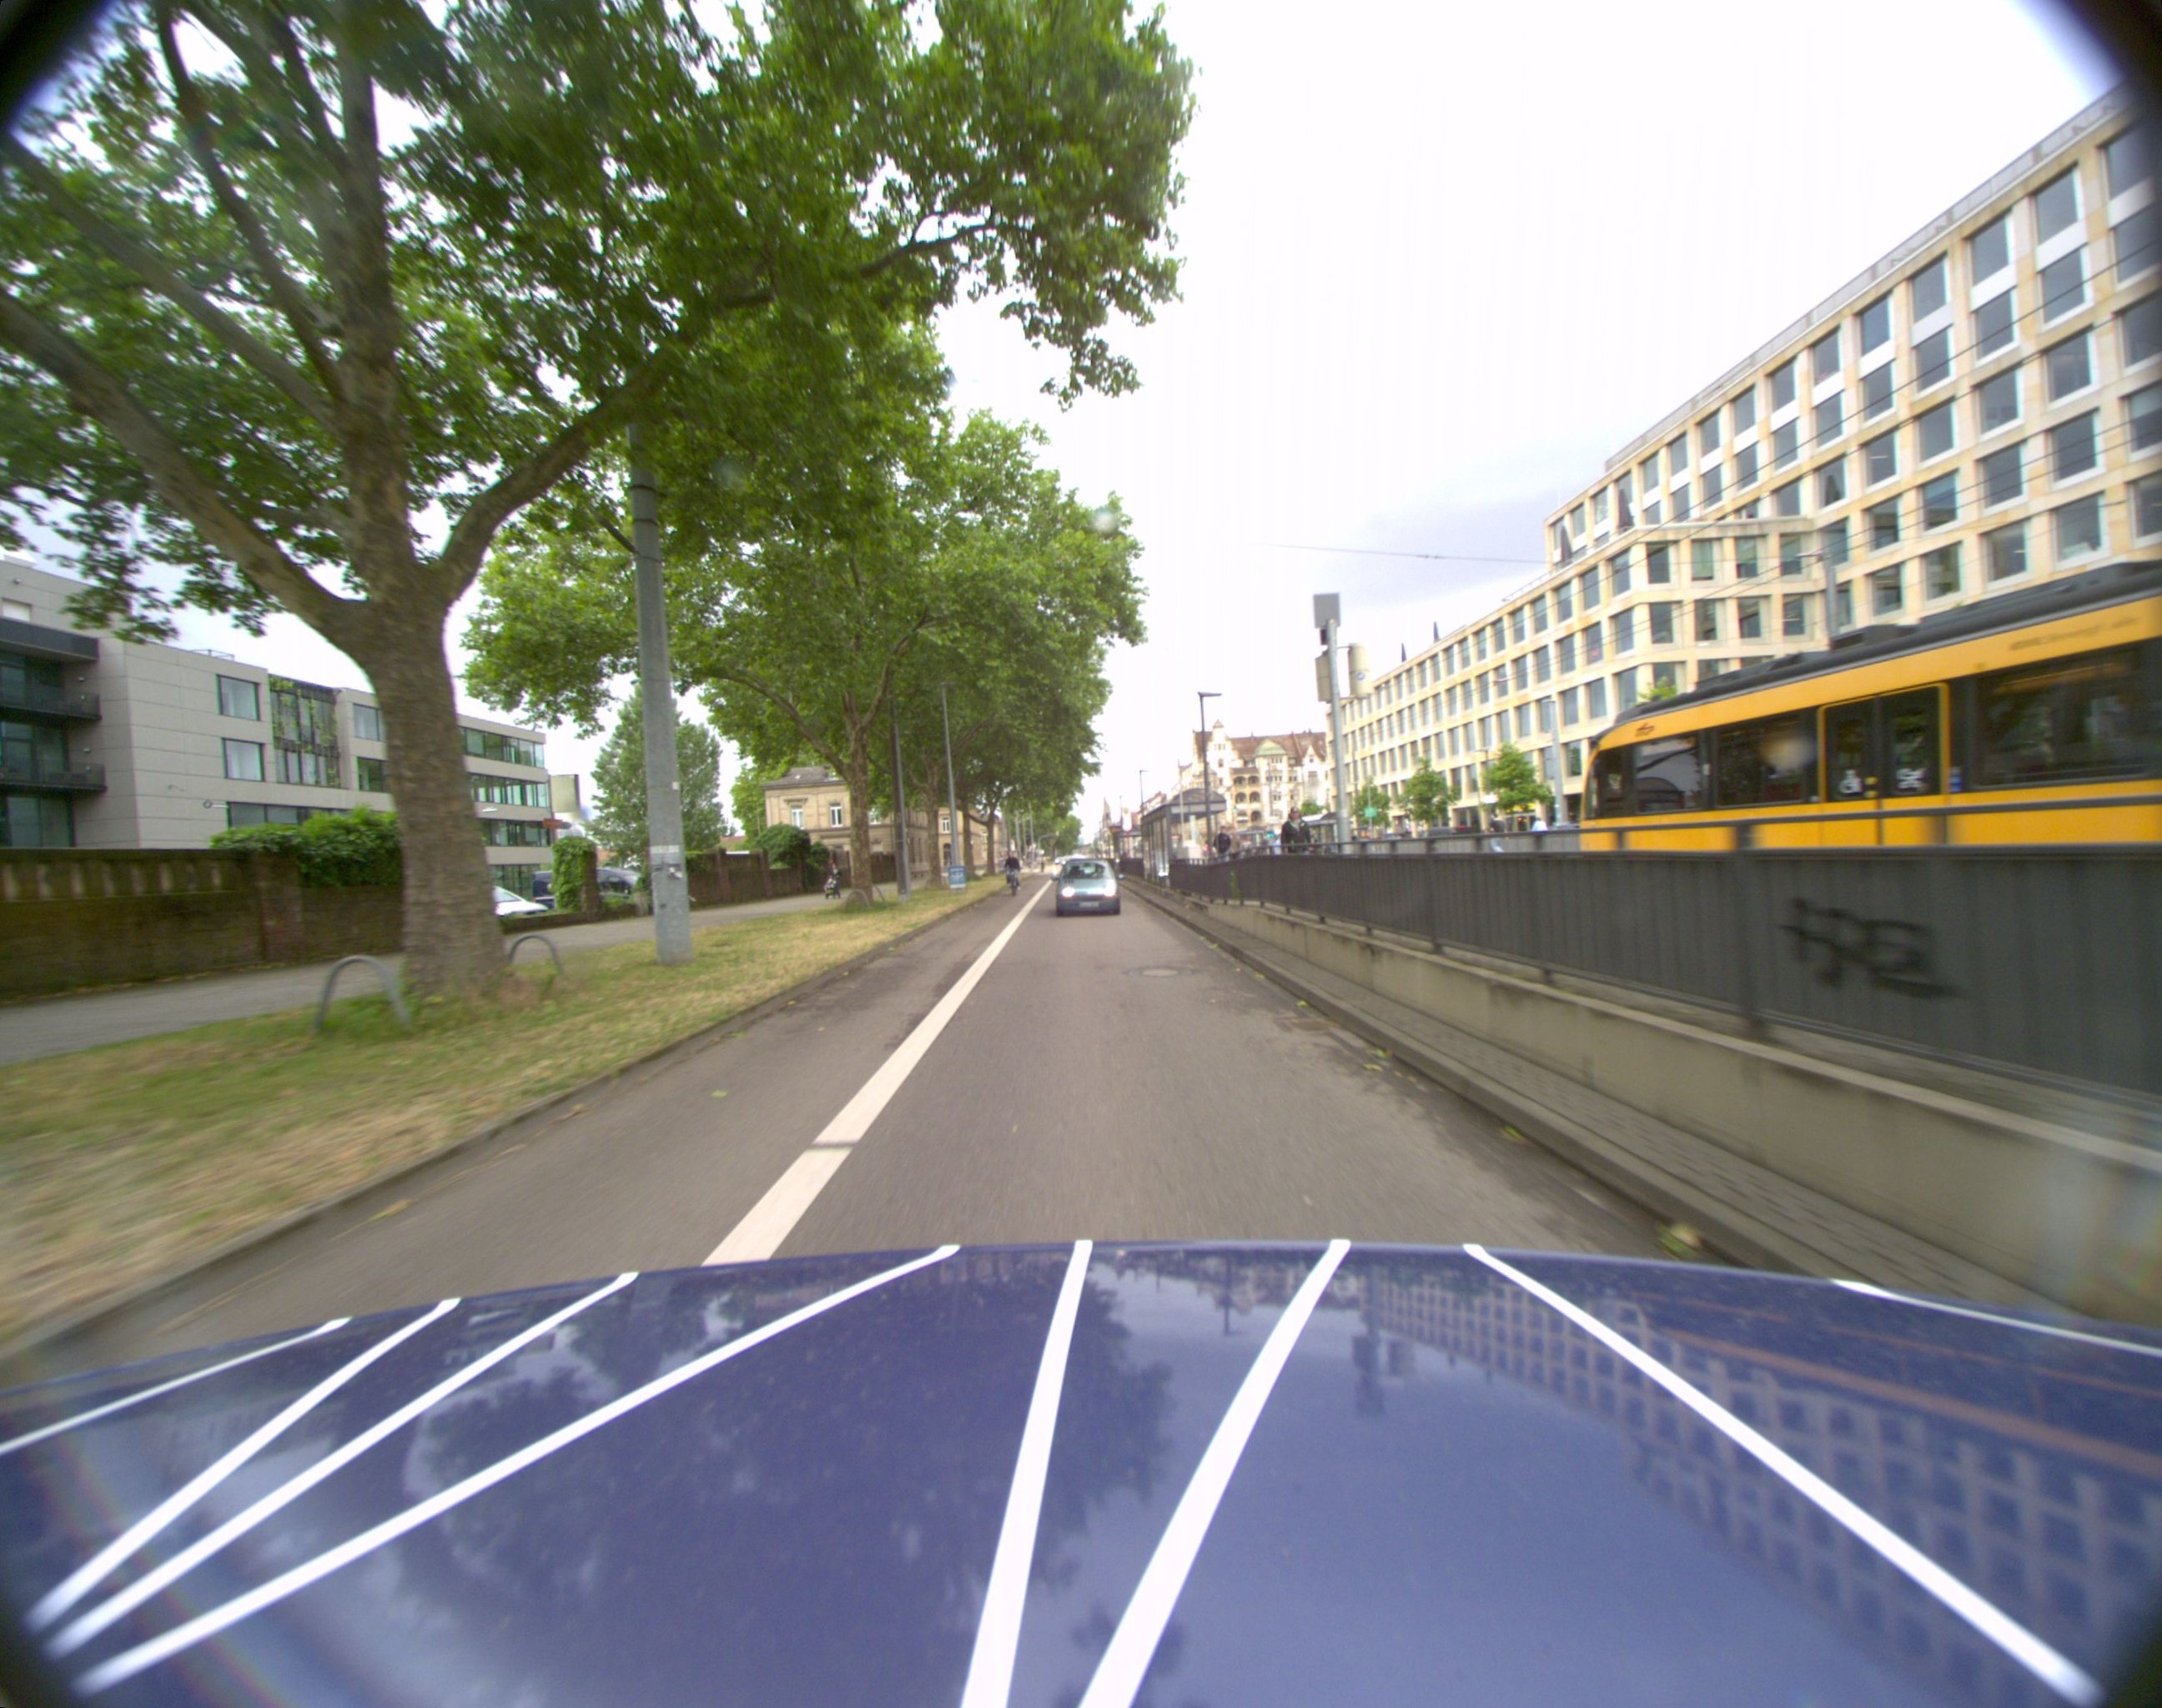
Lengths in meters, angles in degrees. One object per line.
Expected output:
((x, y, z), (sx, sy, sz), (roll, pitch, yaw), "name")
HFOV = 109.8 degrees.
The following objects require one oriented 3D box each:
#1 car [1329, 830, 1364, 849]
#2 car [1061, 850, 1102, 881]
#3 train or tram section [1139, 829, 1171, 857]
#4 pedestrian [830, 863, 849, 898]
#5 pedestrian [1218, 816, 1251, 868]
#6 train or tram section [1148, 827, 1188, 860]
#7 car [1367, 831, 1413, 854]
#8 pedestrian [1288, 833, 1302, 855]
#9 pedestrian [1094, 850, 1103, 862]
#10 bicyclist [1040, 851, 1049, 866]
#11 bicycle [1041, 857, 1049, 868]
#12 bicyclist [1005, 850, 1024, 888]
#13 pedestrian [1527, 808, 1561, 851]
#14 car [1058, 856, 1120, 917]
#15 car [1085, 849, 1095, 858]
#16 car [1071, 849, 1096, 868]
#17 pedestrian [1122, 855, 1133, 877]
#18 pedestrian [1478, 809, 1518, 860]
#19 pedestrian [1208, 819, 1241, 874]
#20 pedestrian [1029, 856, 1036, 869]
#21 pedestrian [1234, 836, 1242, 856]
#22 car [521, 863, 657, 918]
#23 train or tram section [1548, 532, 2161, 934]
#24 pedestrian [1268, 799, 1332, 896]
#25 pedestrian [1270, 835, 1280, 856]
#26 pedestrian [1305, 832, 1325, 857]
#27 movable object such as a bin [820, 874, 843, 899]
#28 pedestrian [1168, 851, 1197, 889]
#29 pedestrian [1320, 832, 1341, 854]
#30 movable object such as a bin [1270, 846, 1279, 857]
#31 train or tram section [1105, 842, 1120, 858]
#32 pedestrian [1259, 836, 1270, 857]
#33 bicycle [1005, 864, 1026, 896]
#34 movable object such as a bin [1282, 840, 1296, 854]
((25.335, -1.398, 72.620), (1.998, 1.652, 4.000), (-3, 1, 2), "car")
((0.014, 0.588, 41.274), (1.999, 1.443, 4.099), (-3, 1, 0), "car")
((10.362, -1.500, 107.539), (2.862, 3.619, 11.696), (-3, 1, -1), "train or tram section")
((-11.526, 1.243, 36.300), (0.559, 1.623, 0.670), (-3, 1, 6), "pedestrian")
((5.463, -0.427, 27.107), (0.672, 1.783, 1.112), (-4, 1, -13), "pedestrian")
((10.712, -1.352, 94.952), (2.862, 3.671, 13.516), (-3, 1, -1), "train or tram section")
((24.406, -0.941, 60.117), (1.998, 1.652, 4.000), (-3, 1, 2), "car")
((15.773, -0.713, 56.023), (0.580, 1.598, 0.655), (-4, 2, -33), "pedestrian")
((2.343, 0.268, 100.915), (0.862, 1.633, 0.651), (-5, 2, -42), "pedestrian")
((-3.972, 0.514, 82.888), (0.812, 1.591, 1.189), (-4, 1, -2), "bicyclist")
((-3.938, 0.905, 82.944), (0.815, 1.163, 2.276), (-4, 1, -2), "bicycle")
((-2.706, 0.598, 30.967), (0.642, 1.522, 0.664), (-4, 1, -2), "bicyclist")
((22.377, -1.156, 36.737), (0.935, 2.002, 1.032), (-3, 1, -2), "pedestrian")
((0.230, 0.841, 21.290), (1.534, 1.464, 3.353), (-3, 1, 1), "car")
((1.798, -0.052, 157.249), (1.869, 1.630, 3.774), (-4, 1, -2), "car")
((0.220, 0.355, 66.837), (1.999, 1.443, 4.099), (-3, 1, 0), "car")
((3.050, 0.773, 49.501), (0.612, 1.365, 0.600), (-3, 1, 0), "pedestrian")
((15.363, -0.713, 28.014), (0.713, 1.785, 1.160), (-3, 1, -2), "pedestrian")
((4.888, -0.256, 25.926), (0.672, 1.783, 1.112), (-4, 1, -9), "pedestrian")
((-5.788, 1.011, 90.212), (0.552, 1.520, 0.639), (-3, 1, 17), "pedestrian")
((14.559, -0.733, 70.457), (0.596, 1.759, 0.588), (-3, 1, 7), "pedestrian")
((-20.959, 1.520, 32.539), (4.359, 2.002, 1.999), (-4, 1, -3), "car")
((11.994, -1.292, 11.101), (3.246, 3.840, 11.309), (-3, 1, 0), "train or tram section")
((4.774, -0.148, 16.630), (1.061, 2.002, 0.840), (-3, 1, 0), "pedestrian")
((14.573, -0.635, 57.034), (0.536, 1.598, 0.565), (-3, 1, 6), "pedestrian")
((16.285, -0.676, 52.970), (1.040, 1.676, 0.939), (-3, 1, 3), "pedestrian")
((-11.621, 1.510, 35.420), (0.613, 1.106, 1.015), (-3, 0, 6), "movable object such as a bin")
((3.588, 0.564, 26.883), (0.837, 1.296, 0.613), (-3, 1, -2), "pedestrian")
((16.738, -0.733, 51.031), (1.040, 1.364, 0.939), (-3, 1, 3), "pedestrian")
((14.651, -0.187, 57.560), (0.536, 0.743, 0.469), (-3, 1, 6), "movable object such as a bin")
((7.076, -0.998, 171.541), (2.651, 3.417, 13.616), (-3, 1, 0), "train or tram section")
((15.583, -0.665, 64.587), (0.589, 1.759, 0.596), (-4, 2, -37), "pedestrian")
((-2.653, 1.043, 30.860), (0.654, 1.143, 2.282), (-4, 1, -2), "bicycle")
((15.256, -0.516, 55.720), (0.622, 1.015, 0.721), (-4, 1, -33), "movable object such as a bin")
